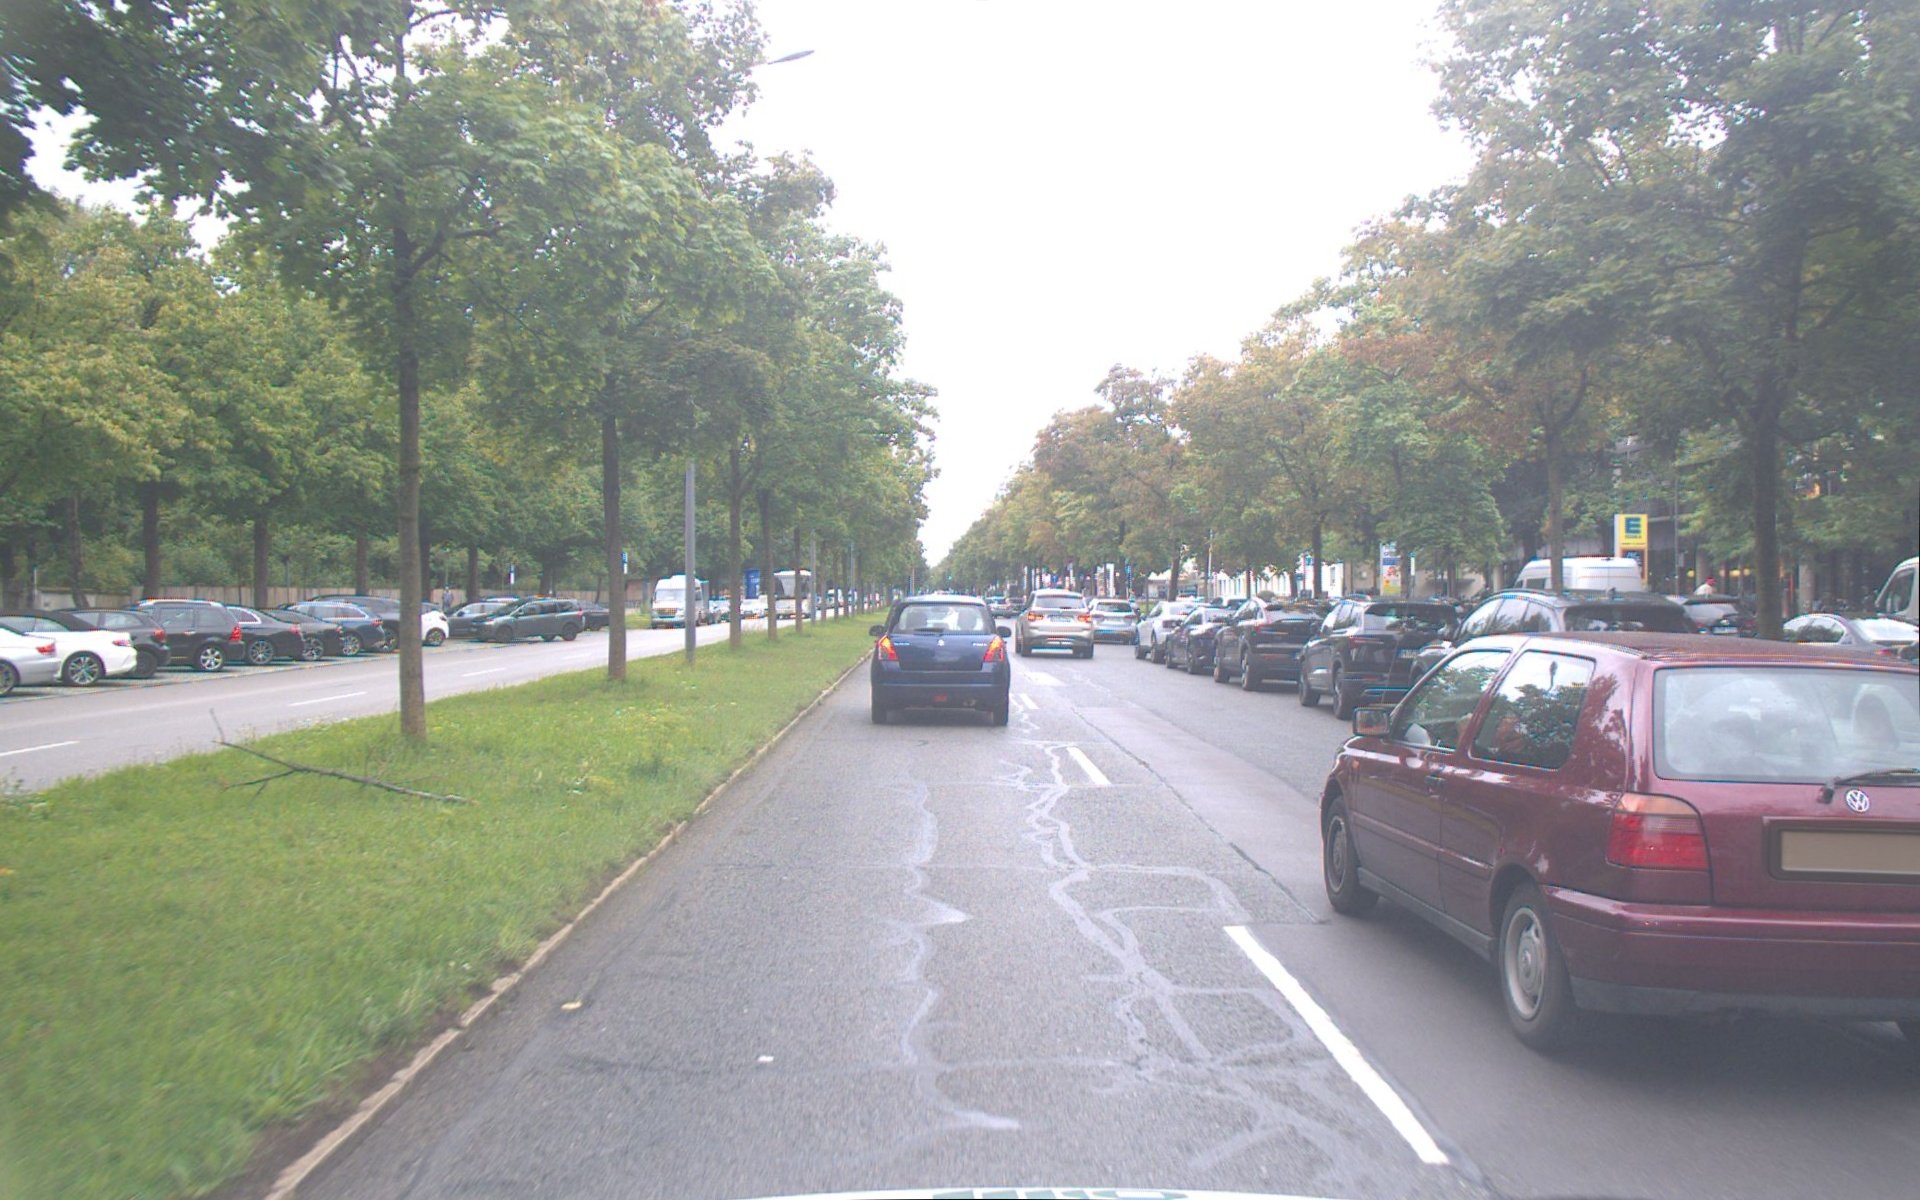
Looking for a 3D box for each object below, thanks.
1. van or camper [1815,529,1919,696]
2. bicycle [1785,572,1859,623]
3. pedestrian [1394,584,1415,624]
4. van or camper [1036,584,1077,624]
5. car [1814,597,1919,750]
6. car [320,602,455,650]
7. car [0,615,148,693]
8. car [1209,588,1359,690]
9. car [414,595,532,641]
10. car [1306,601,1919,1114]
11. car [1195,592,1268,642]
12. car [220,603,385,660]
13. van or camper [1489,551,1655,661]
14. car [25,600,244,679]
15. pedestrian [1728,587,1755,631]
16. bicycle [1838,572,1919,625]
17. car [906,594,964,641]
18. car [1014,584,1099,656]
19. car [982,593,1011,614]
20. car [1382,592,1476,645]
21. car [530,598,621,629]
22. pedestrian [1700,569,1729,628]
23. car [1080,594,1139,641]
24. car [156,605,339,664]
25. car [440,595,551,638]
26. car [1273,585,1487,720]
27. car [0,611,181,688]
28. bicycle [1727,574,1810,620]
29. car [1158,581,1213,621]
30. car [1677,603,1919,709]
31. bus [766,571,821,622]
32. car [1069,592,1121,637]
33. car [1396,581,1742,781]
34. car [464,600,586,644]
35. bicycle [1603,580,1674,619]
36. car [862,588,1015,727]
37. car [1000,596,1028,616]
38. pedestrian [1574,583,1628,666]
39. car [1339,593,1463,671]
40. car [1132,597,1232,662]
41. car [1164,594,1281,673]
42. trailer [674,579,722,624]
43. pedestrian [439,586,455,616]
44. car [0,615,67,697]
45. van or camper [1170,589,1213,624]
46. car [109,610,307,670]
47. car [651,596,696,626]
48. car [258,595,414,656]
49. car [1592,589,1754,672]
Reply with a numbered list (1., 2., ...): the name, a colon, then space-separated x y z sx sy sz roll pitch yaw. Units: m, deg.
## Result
1. van or camper: 15.885 0.184 25.806 1.953 2.602 5.956 0 0 -1
2. bicycle: 26.454 -0.075 50.759 2.583 1.534 0.790 -1 0 -31
3. pedestrian: 19.678 0.184 73.282 0.732 1.736 0.702 0 0 -1
4. van or camper: 5.015 0.200 86.285 1.905 2.009 4.306 0 0 0
5. car: 10.400 0.754 16.287 1.728 1.514 3.997 2 0 -4
6. car: -19.372 0.843 56.006 4.054 1.527 1.899 -1 0 -32
7. car: -17.799 1.014 31.483 3.999 1.405 1.653 0 0 -37
8. car: 5.694 0.636 29.550 1.728 1.680 4.423 0 0 -1
9. car: -19.113 0.686 64.950 4.059 1.725 1.896 -1 0 -35
10. car: 2.683 0.753 6.839 1.589 1.479 3.948 0 0 -1
11. car: 9.378 0.543 57.427 1.650 1.661 4.779 0 0 -1
12. car: -18.536 0.863 46.677 4.059 1.495 1.896 -1 0 -35
13. van or camper: 15.565 0.134 42.471 1.983 2.602 5.956 0 0 -1
14. car: -18.369 0.828 36.897 4.070 1.625 1.891 -1 0 -40
15. pedestrian: 24.399 0.280 51.647 0.547 1.336 0.549 0 0 -12
16. bicycle: 27.078 -0.051 48.326 2.562 1.534 0.796 0 0 -10
17. car: -0.852 0.547 54.571 1.813 1.472 4.095 0 0 -2
18. car: 2.466 0.497 43.007 1.813 1.773 4.095 0 0 -2
19. car: 2.597 0.265 118.642 1.813 1.472 4.095 0 0 -2
20. car: 15.297 0.578 54.187 1.650 1.661 4.496 0 0 -3
21. car: -18.897 0.664 81.342 4.059 1.500 1.684 1 -1 -35
22. pedestrian: 23.909 -0.047 52.423 0.547 1.862 0.679 0 0 -12
23. car: 5.220 0.596 58.367 1.650 1.552 4.455 1 0 0
24. car: -18.647 0.860 43.326 4.149 1.434 1.896 -1 0 -35
25. car: -19.190 0.664 68.415 4.059 1.725 1.896 -1 0 -35
26. car: 5.680 0.649 22.911 1.687 1.680 4.387 0 0 -2
27. car: -18.374 0.971 33.668 4.205 1.447 1.890 -1 0 -42
28. bicycle: 28.046 -0.106 57.398 2.560 1.534 0.797 0 0 -7
29. car: 9.288 0.031 68.388 1.650 1.613 4.027 0 0 -1
30. car: 13.157 0.806 25.949 1.650 1.479 4.837 0 0 -1
31. bus: -12.020 -0.298 120.223 2.682 3.436 12.012 -2 0 0
32. car: 5.182 0.546 63.944 1.650 1.654 4.306 1 0 0
33. car: 5.928 0.694 16.786 1.725 1.730 4.819 0 0 0
34. car: -16.635 0.815 63.304 4.152 1.569 1.890 -1 0 -42
35. bicycle: 27.169 -0.017 66.209 2.560 1.534 0.797 0 0 -7
36. car: -0.331 0.649 20.949 1.753 1.583 3.998 0 0 -3
37. car: 4.061 0.404 124.159 1.813 1.472 4.095 0 0 -2
38. pedestrian: 14.810 0.556 38.244 0.857 1.883 0.903 1 0 -2
39. car: 9.691 0.665 36.620 1.650 1.613 4.008 0 0 -1
40. car: 5.439 0.684 41.024 1.672 1.479 4.510 2 0 -2
41. car: 5.524 0.663 35.282 1.728 1.573 4.423 0 0 -1
42. trailer: -15.666 0.078 99.217 2.063 2.585 5.576 0 0 -1
43. pedestrian: -28.319 0.033 91.333 0.671 1.640 0.685 0 0 -32
44. car: -17.620 0.975 28.300 3.955 1.378 1.827 -1 0 -36
45. van or camper: 13.467 0.362 96.451 1.905 2.009 4.306 0 0 0
46. car: -18.336 0.943 40.377 4.153 1.345 1.896 -1 0 -35
47. car: -15.532 0.579 89.807 1.875 1.569 4.186 0 0 -2
48. car: -18.615 0.730 49.385 4.059 1.709 1.896 -1 0 -35
49. car: 15.366 0.625 35.867 1.712 1.693 4.008 0 0 -1
